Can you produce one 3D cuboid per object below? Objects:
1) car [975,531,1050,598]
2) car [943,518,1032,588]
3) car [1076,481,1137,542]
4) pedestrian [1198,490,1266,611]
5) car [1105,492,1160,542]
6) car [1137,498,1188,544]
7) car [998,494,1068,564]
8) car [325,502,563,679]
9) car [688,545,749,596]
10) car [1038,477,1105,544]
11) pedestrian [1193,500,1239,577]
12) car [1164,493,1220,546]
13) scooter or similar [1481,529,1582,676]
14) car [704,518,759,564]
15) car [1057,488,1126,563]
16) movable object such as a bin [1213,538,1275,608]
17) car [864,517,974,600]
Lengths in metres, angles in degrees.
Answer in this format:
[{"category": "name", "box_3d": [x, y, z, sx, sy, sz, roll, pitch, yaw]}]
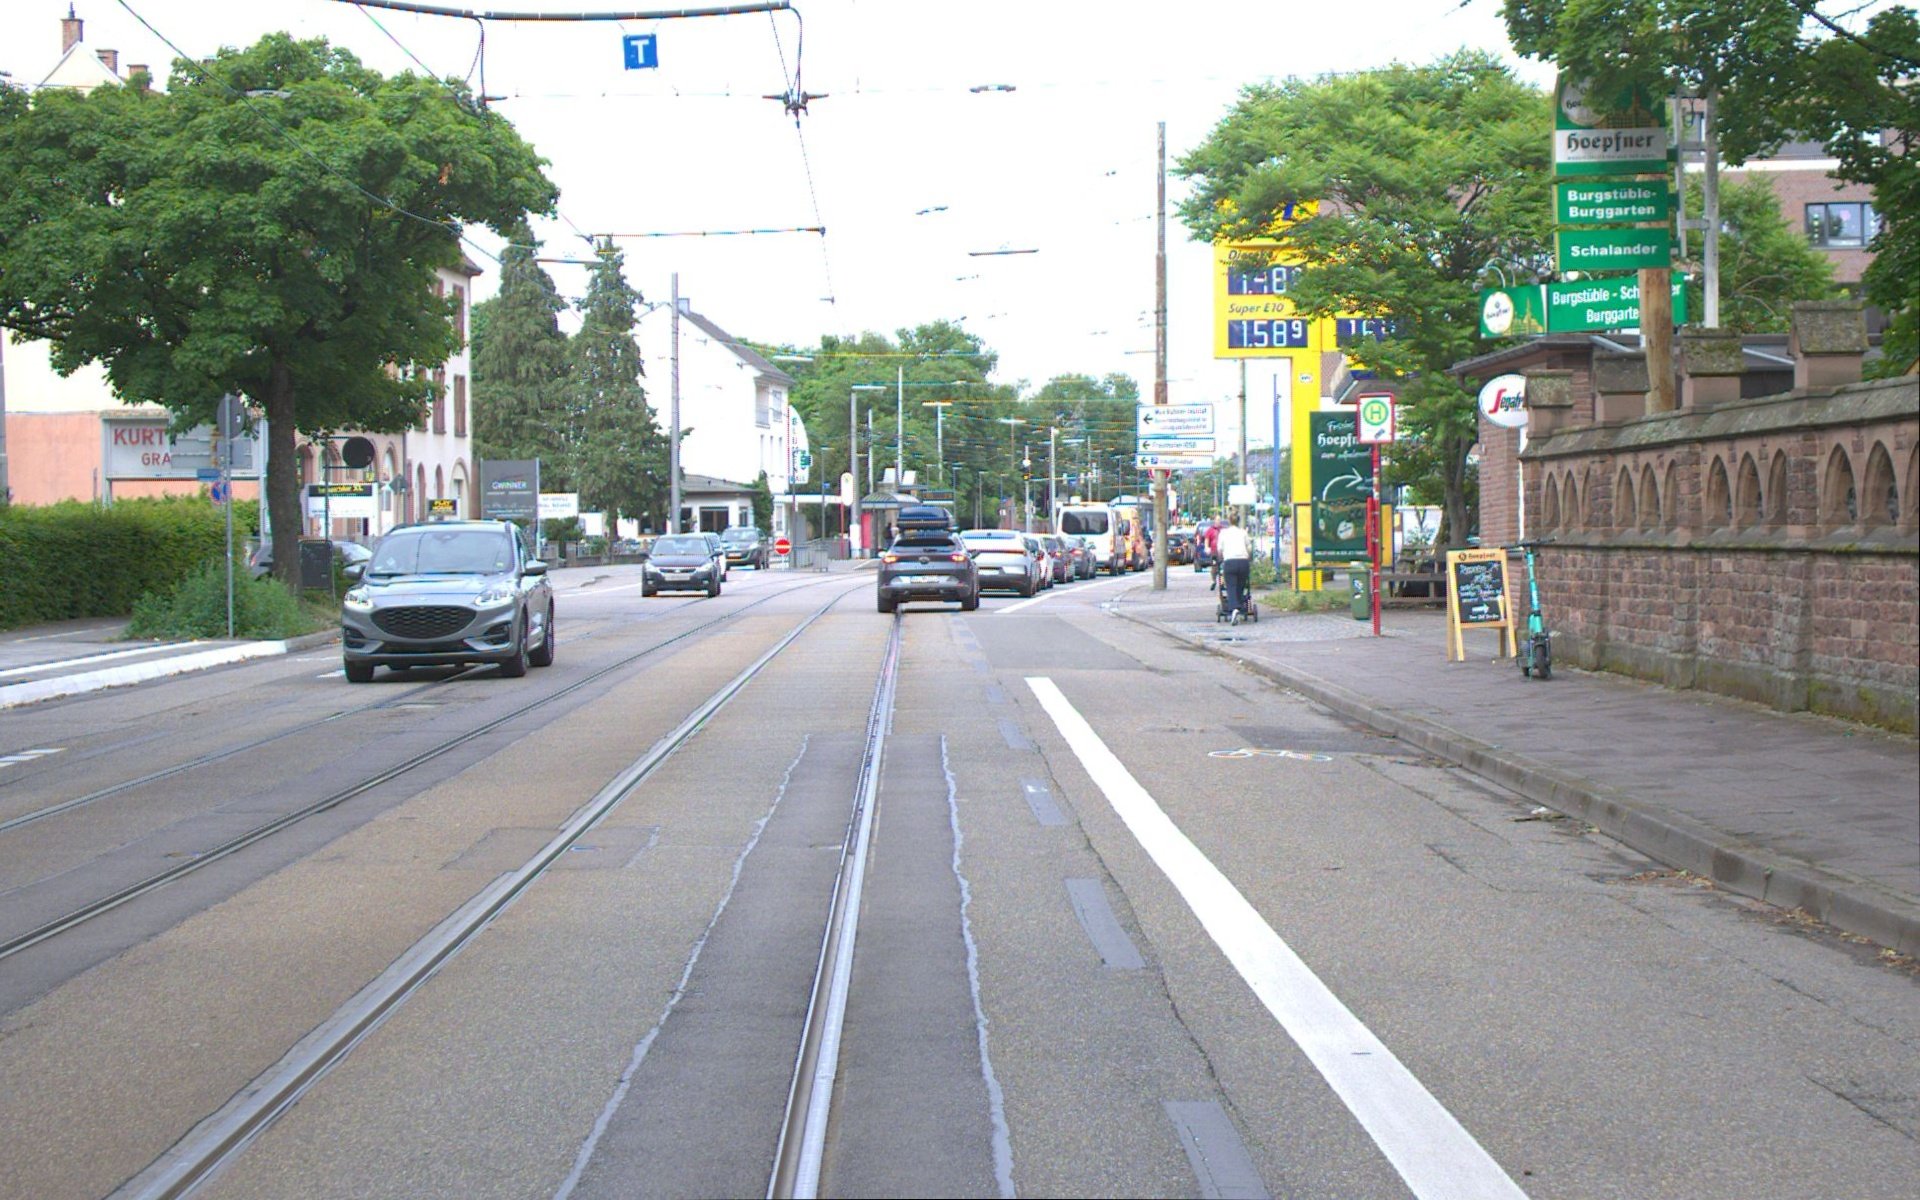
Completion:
[{"category": "car", "box_3d": [1.410, -0.965, 92.356, 1.969, 1.750, 3.838, 1, 1, 1]}, {"category": "car", "box_3d": [0.601, -1.098, 79.177, 1.981, 1.544, 4.184, 0, 2, 0]}, {"category": "car", "box_3d": [5.301, -3.166, 124.068, 2.139, 2.138, 4.743, 1, 1, 3]}, {"category": "pedestrian", "box_3d": [4.171, -0.764, 52.708, 0.768, 1.790, 1.161, -3, 1, 14]}, {"category": "car", "box_3d": [7.049, -3.387, 140.647, 1.993, 2.007, 4.000, 0, 1, -1]}, {"category": "car", "box_3d": [8.957, -3.493, 152.263, 1.993, 2.007, 4.000, 0, 1, -1]}, {"category": "car", "box_3d": [2.169, -2.073, 100.760, 1.993, 2.007, 4.000, 1, 1, 2]}, {"category": "car", "box_3d": [-5.449, -0.160, 36.804, 1.842, 1.648, 4.390, -3, 2, 0]}, {"category": "car", "box_3d": [-7.439, -0.929, 106.050, 1.703, 1.524, 3.742, 0, 1, -2]}, {"category": "car", "box_3d": [3.505, -2.776, 107.140, 1.994, 2.007, 4.000, 1, 1, 3]}, {"category": "pedestrian", "box_3d": [5.947, -1.440, 79.922, 0.972, 1.732, 0.861, -3, 1, 3]}, {"category": "car", "box_3d": [8.263, -2.863, 122.725, 1.874, 1.817, 4.096, 1, 1, 3]}, {"category": "scooter or similar", "box_3d": [5.076, 0.006, 30.619, 0.577, 1.235, 1.410, -4, 1, 0]}, {"category": "car", "box_3d": [-8.862, -2.307, 133.443, 1.827, 1.731, 4.335, -1, 1, 0]}, {"category": "car", "box_3d": [4.370, -2.485, 114.811, 2.216, 2.415, 4.951, 1, 1, 2]}, {"category": "movable object such as a bin", "box_3d": [4.437, -0.428, 53.722, 0.768, 1.035, 1.023, -3, 1, 14]}, {"category": "car", "box_3d": [-0.751, -0.797, 64.711, 1.990, 1.492, 4.326, 0, 1, 0]}]
